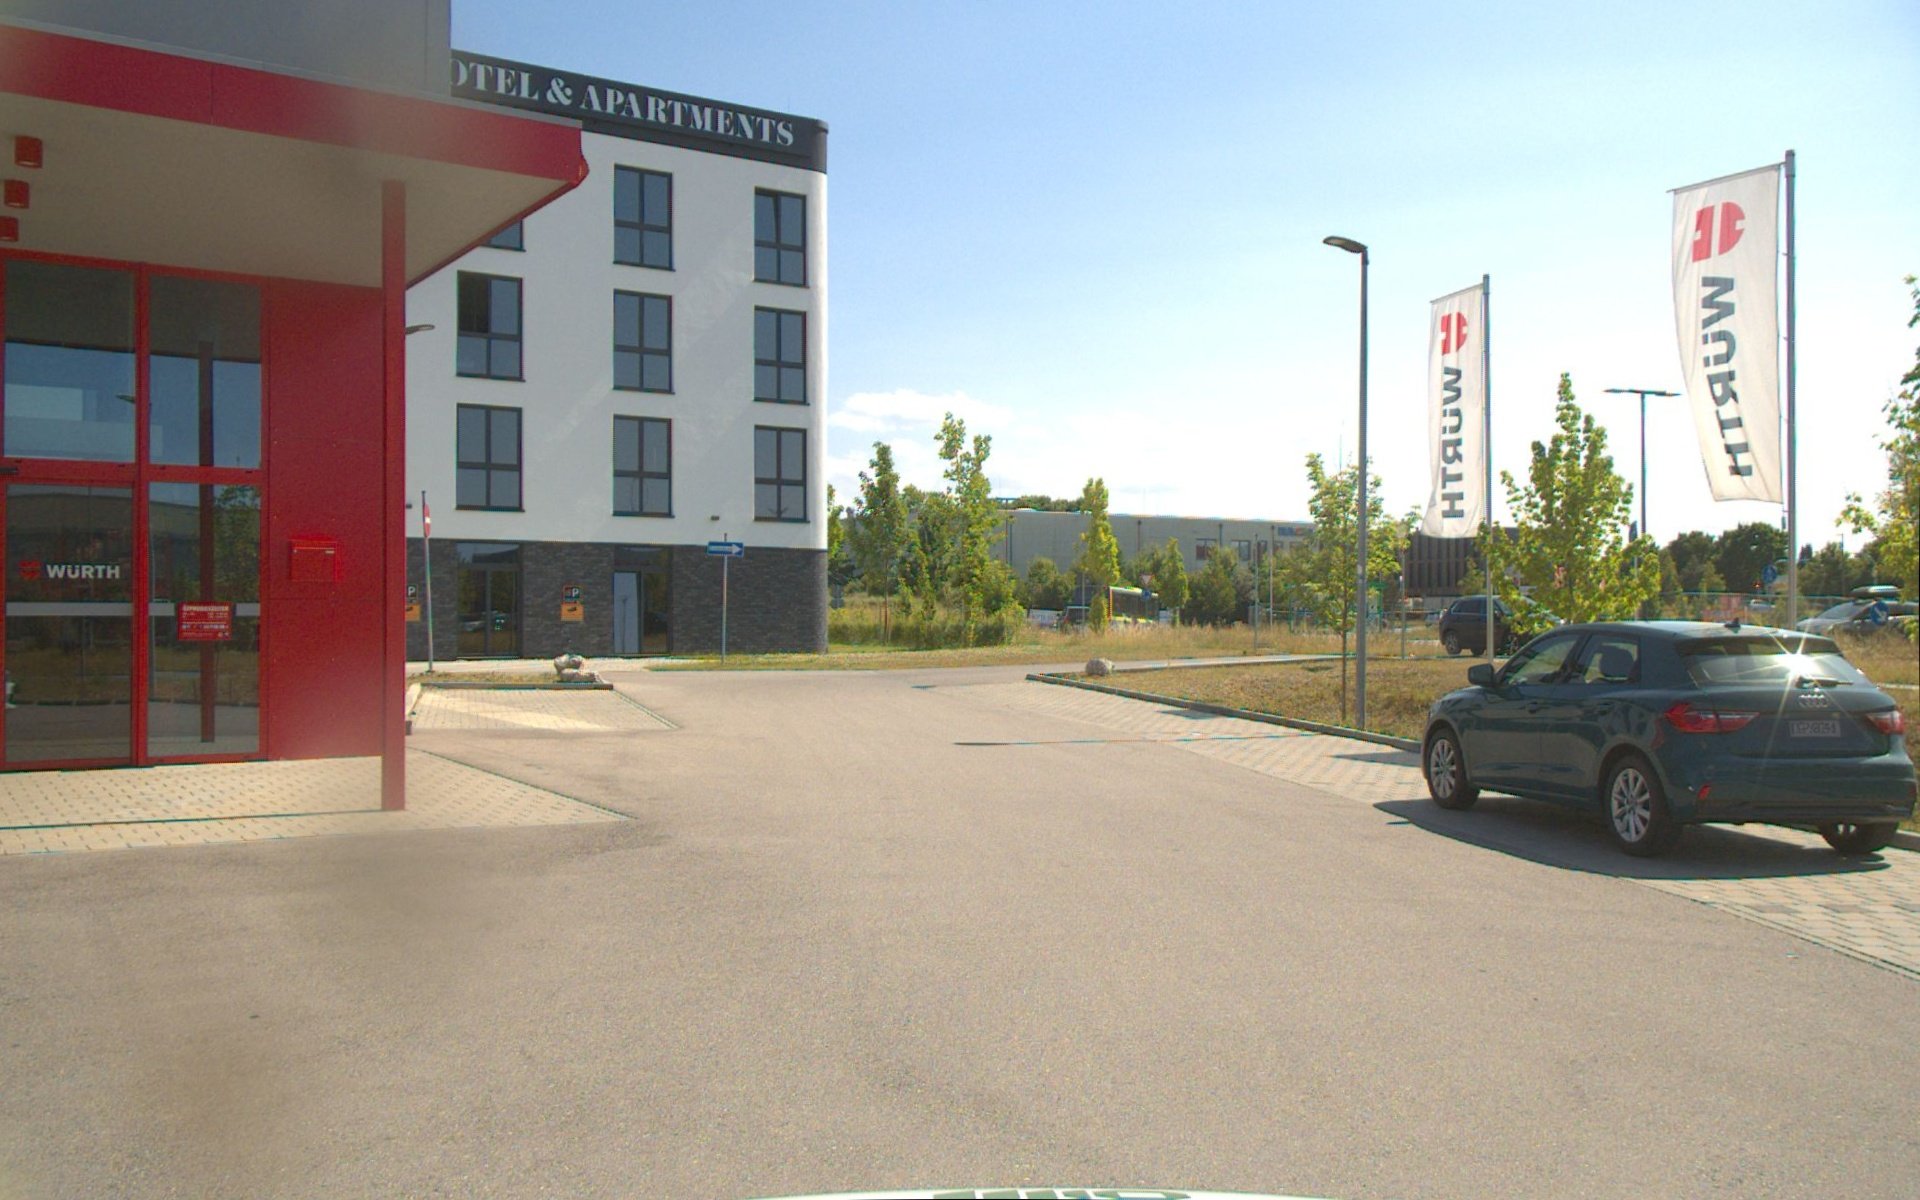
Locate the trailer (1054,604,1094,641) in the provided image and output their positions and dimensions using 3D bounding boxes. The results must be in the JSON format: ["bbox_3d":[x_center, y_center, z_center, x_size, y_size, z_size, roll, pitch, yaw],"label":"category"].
[{"bbox_3d":[5.916,1.155,86.160,1.785,1.892,3.999,1,0,-1],"label":"trailer"}]

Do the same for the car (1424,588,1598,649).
[{"bbox_3d":[14.919,0.484,45.071,1.913,1.578,4.729,1,0,-22],"label":"car"}]

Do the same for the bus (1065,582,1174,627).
[{"bbox_3d":[10.568,0.250,107.921,2.524,2.783,11.545,0,0,30],"label":"bus"}]

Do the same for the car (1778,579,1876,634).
[{"bbox_3d":[25.575,0.203,48.709,1.960,1.543,4.180,0,0,36],"label":"car"}]

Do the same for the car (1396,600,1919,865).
[{"bbox_3d":[4.778,0.748,11.579,1.806,1.475,4.218,0,0,-9],"label":"car"}]

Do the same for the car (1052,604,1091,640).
[{"bbox_3d":[6.046,1.169,90.138,1.785,1.892,3.999,1,0,-1],"label":"car"}]
